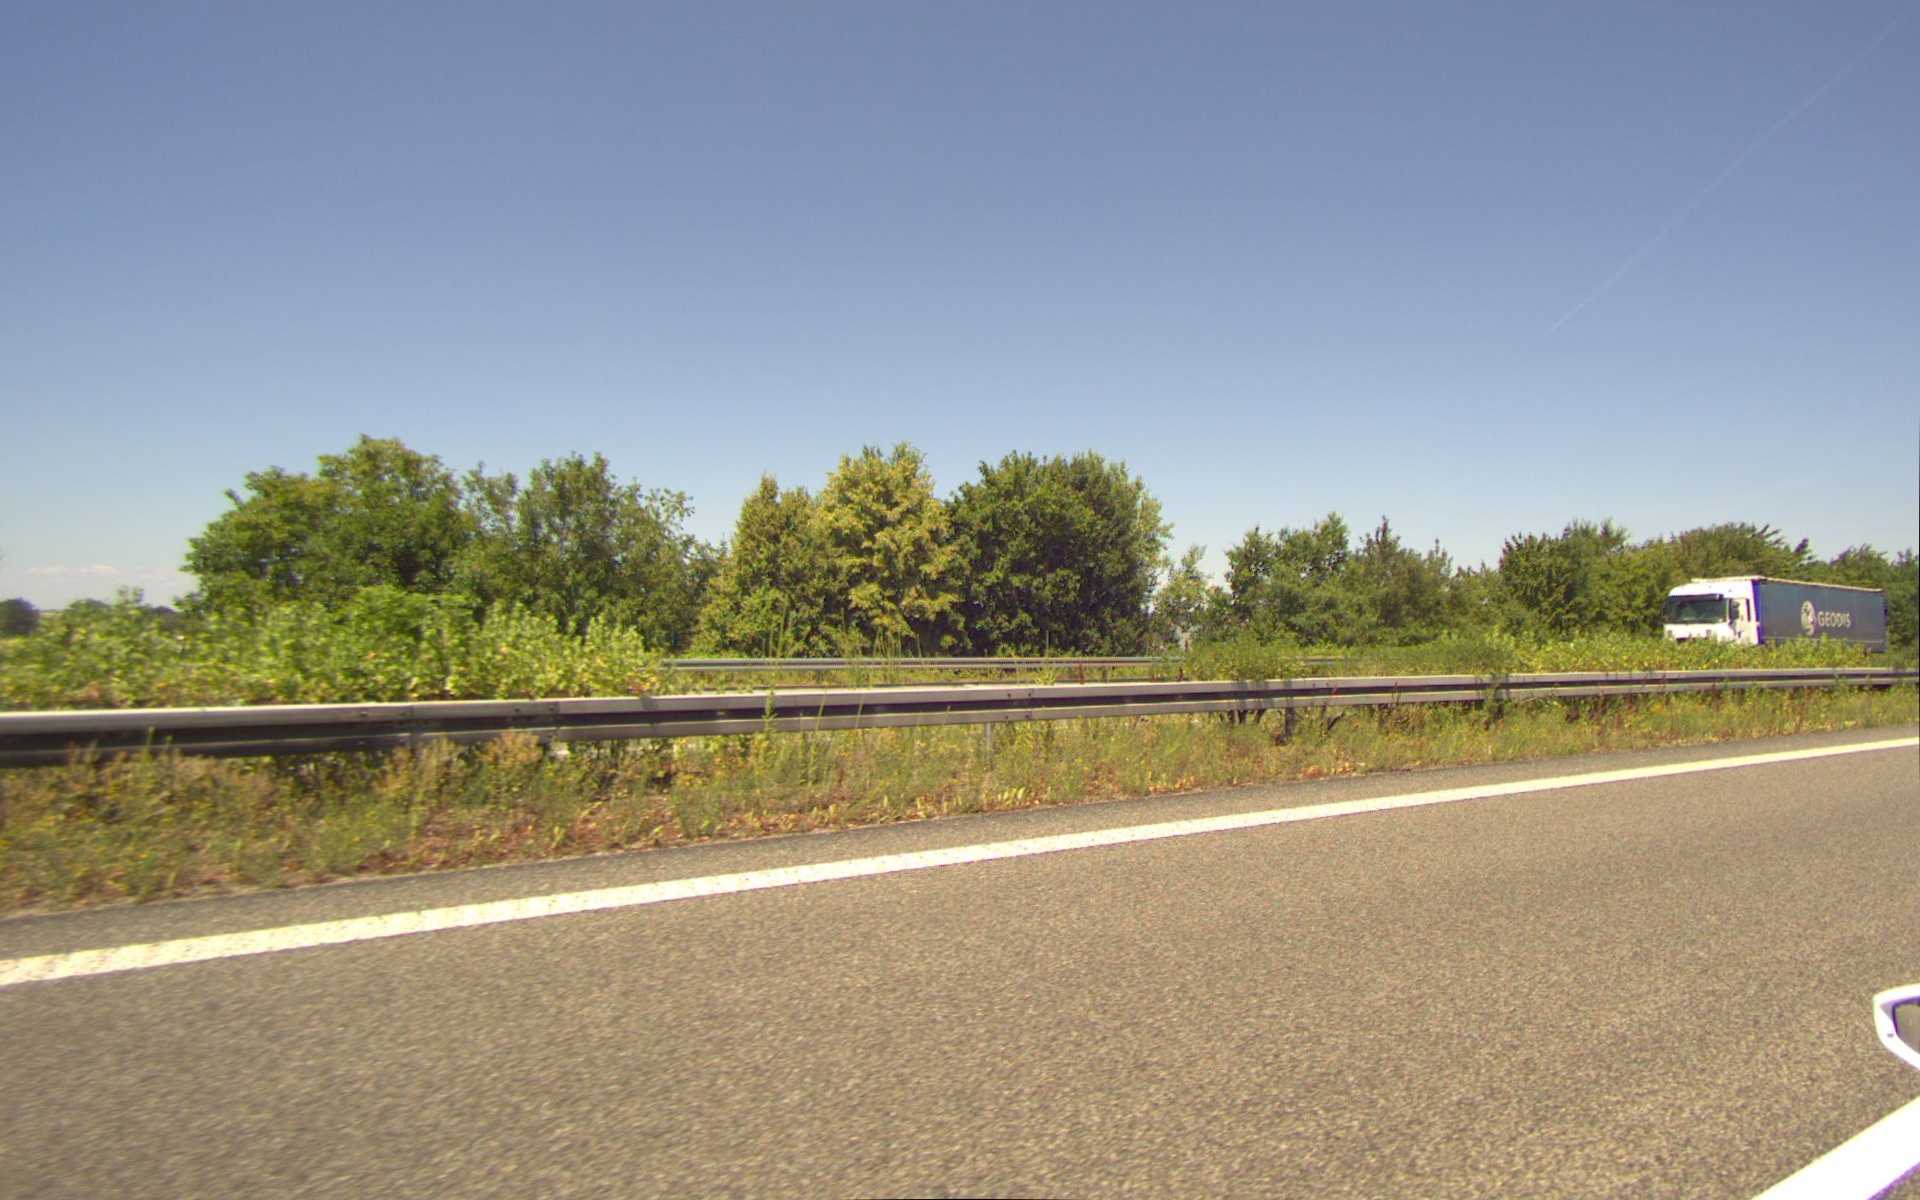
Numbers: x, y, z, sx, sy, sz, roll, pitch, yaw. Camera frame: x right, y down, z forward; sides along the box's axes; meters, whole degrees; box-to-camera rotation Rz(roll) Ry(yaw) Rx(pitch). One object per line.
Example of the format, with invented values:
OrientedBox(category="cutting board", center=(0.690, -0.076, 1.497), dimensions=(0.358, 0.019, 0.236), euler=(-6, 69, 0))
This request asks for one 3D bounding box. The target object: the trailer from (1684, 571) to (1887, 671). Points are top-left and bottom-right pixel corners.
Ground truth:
OrientedBox(category="trailer", center=(39.124, 1.151, 47.350), dimensions=(13.383, 4.241, 2.906), euler=(2, -3, -30))

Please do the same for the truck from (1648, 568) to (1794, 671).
OrientedBox(category="truck", center=(33.126, 0.955, 43.714), dimensions=(6.122, 4.183, 2.903), euler=(2, -3, -30))
